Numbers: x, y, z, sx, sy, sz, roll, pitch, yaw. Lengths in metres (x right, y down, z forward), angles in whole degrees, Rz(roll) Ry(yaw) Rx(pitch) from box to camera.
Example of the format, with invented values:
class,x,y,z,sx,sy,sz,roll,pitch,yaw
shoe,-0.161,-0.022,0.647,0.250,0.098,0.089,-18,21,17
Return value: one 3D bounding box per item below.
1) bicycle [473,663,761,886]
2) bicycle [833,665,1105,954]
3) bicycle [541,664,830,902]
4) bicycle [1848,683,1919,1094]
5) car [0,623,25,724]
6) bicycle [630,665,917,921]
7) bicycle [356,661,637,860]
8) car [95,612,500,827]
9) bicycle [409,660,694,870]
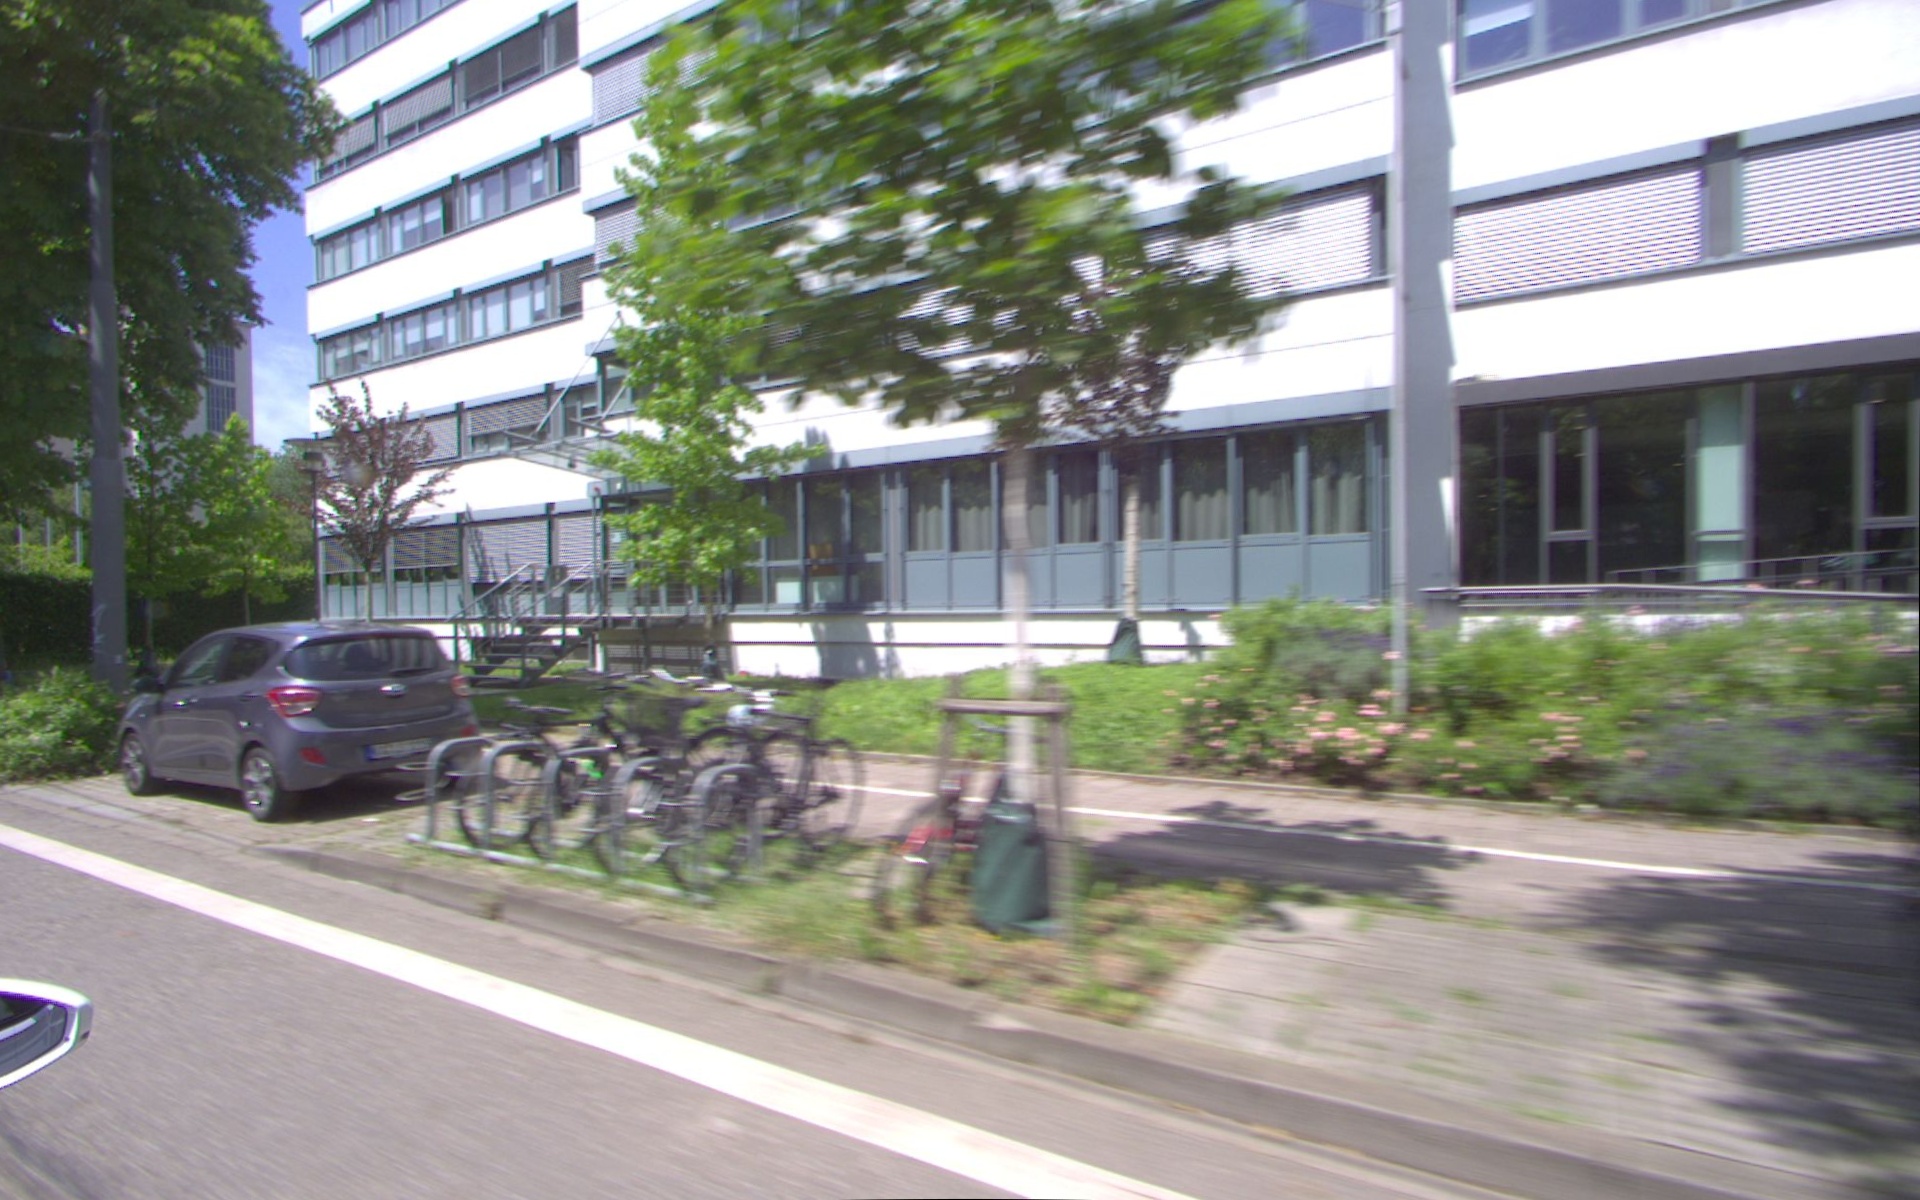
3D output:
class,x,y,z,sx,sy,sz,roll,pitch,yaw
bicycle,-2.051,0.988,6.244,0.540,1.099,1.747,0,0,32
bicycle,0.126,0.926,5.034,0.540,1.099,1.747,0,0,32
bicycle,-1.538,0.981,5.930,0.540,1.099,1.747,0,0,32
bicycle,3.222,0.864,2.935,0.709,1.099,1.819,-2,-1,35
car,-16.102,1.106,15.338,3.824,1.488,1.685,-1,0,32
bicycle,-0.957,0.967,5.597,0.540,1.099,1.747,0,0,32
bicycle,-3.112,1.021,6.903,0.540,1.099,1.747,0,0,32
car,-5.986,0.902,8.979,3.575,1.523,1.684,-1,1,32
bicycle,-2.598,0.992,6.574,0.540,1.099,1.747,0,0,32
